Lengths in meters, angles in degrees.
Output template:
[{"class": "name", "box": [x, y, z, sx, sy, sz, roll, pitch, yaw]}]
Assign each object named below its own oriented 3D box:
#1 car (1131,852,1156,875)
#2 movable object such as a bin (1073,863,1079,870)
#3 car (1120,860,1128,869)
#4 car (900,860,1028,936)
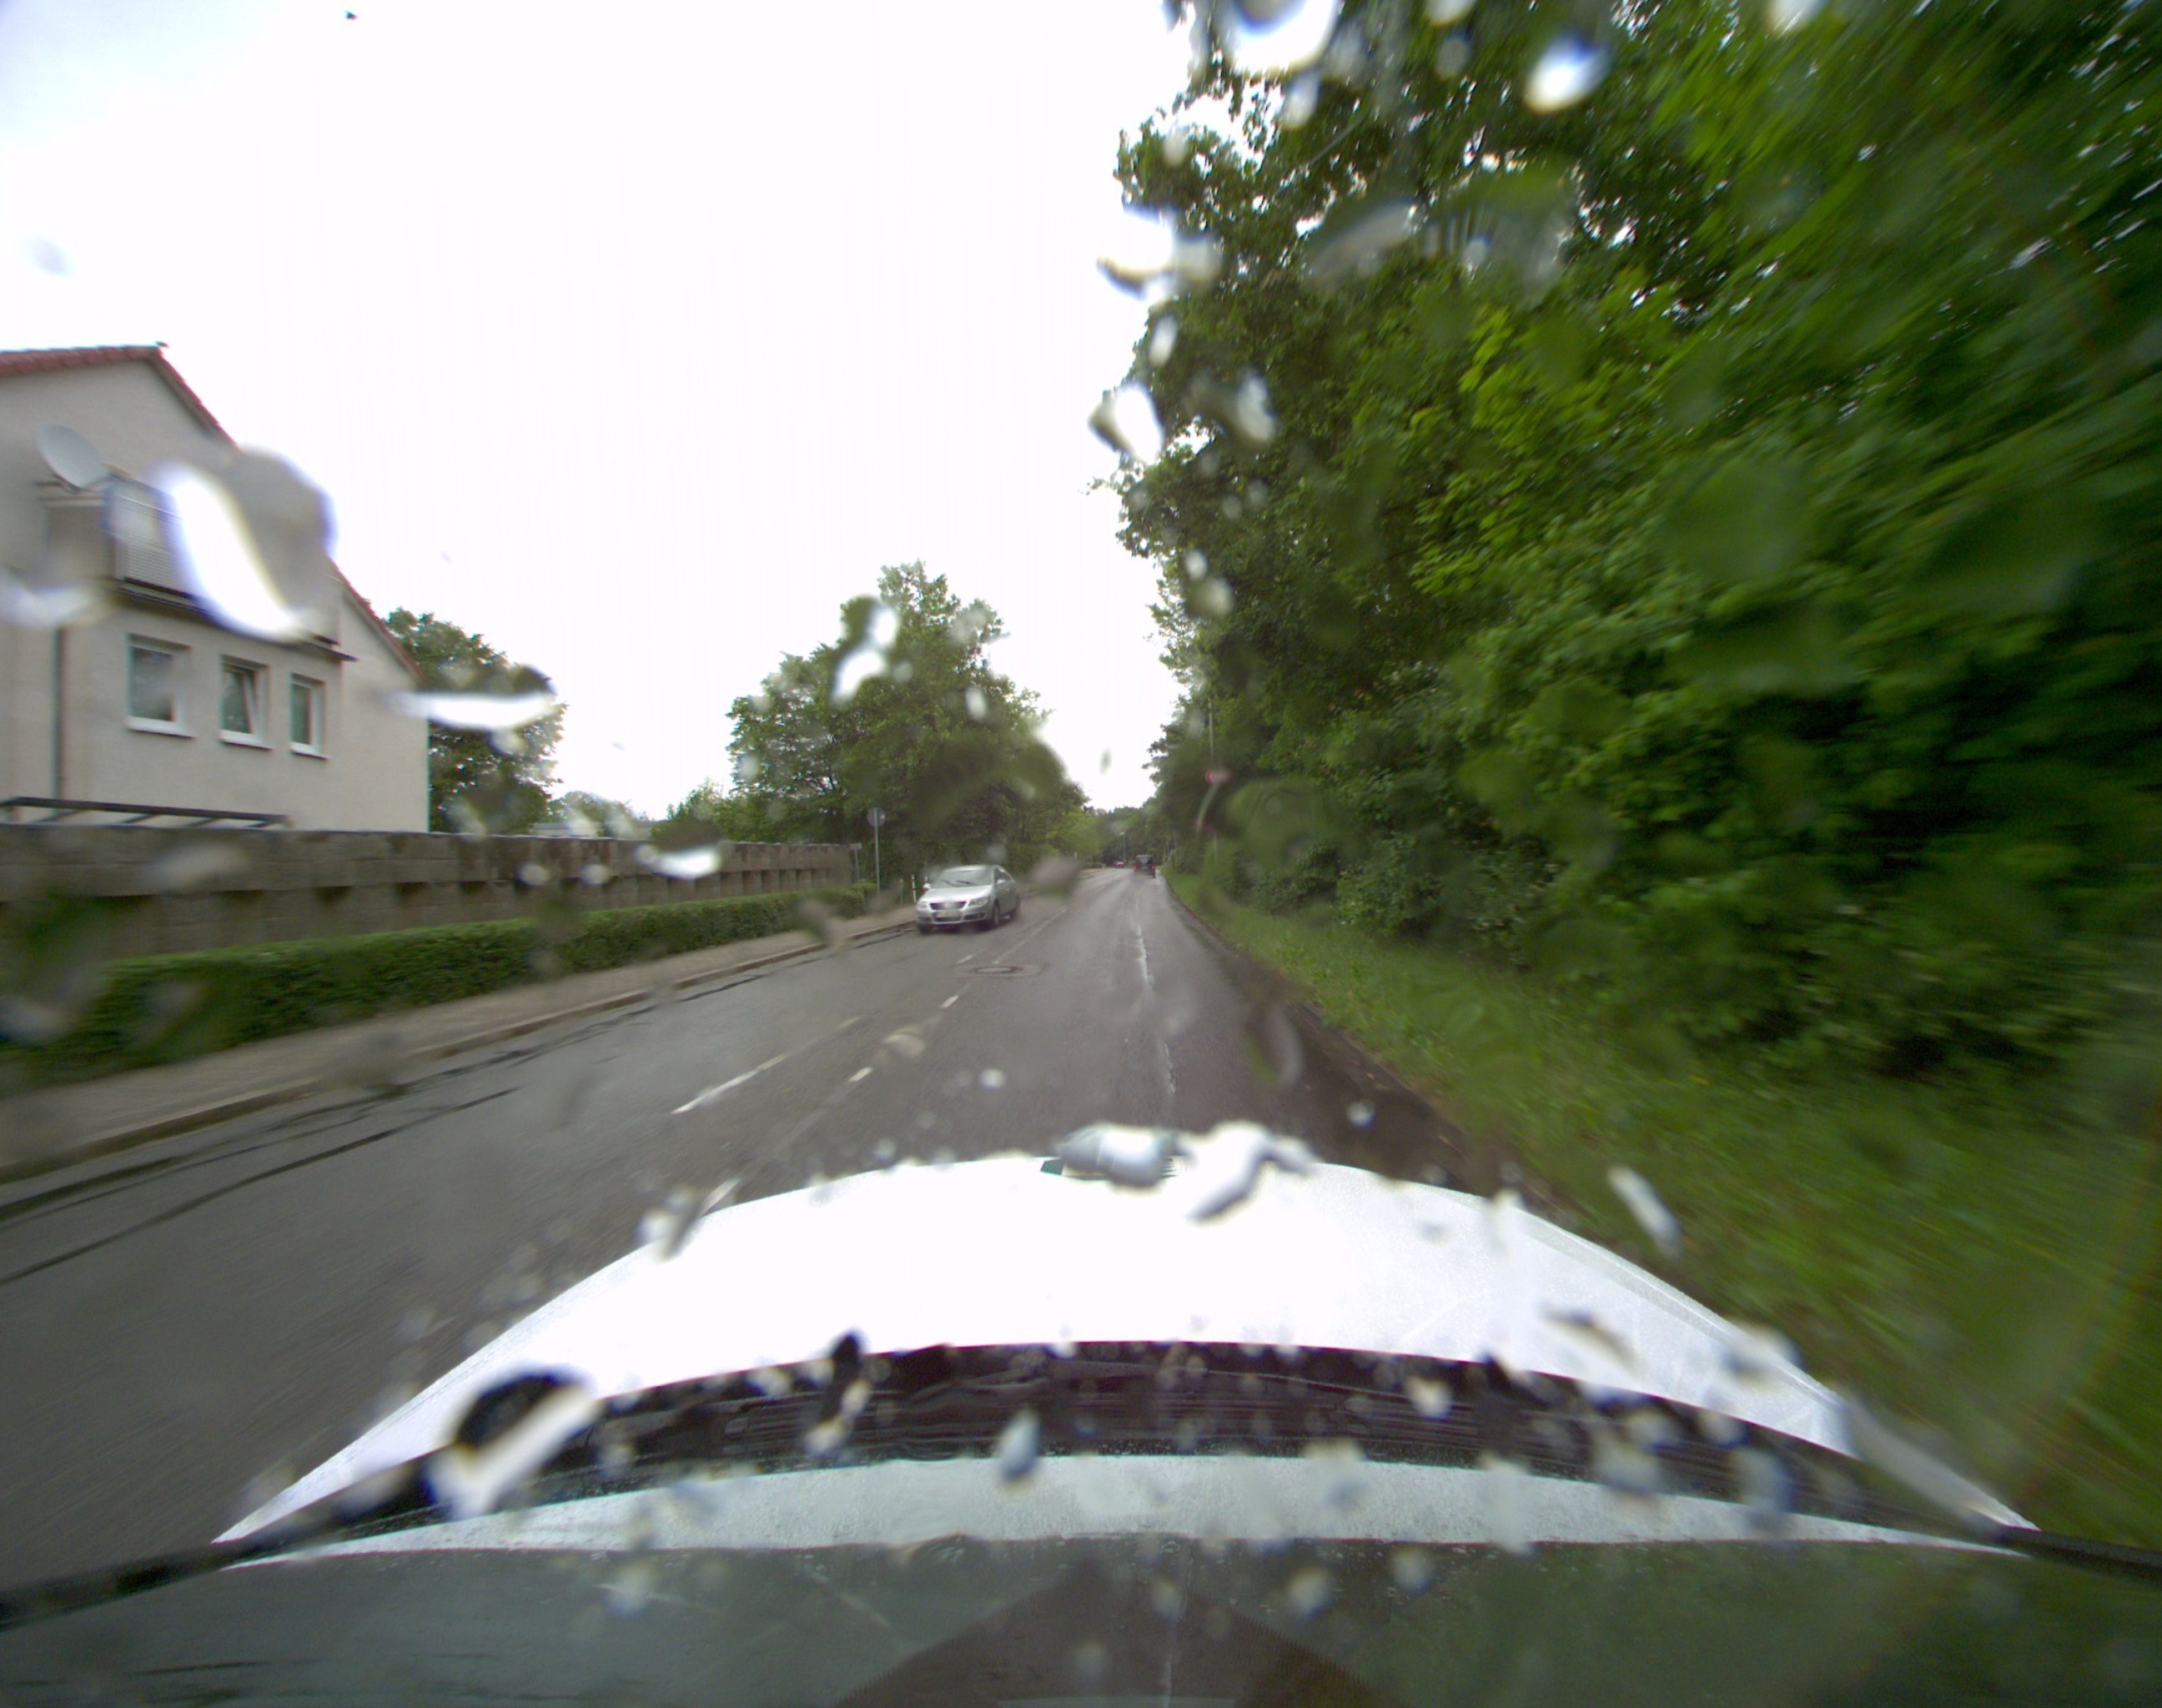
[{"class": "car", "box": [5.168, 0.724, 67.015, 1.984, 1.793, 4.006, 0, 1, 5]}, {"class": "movable object such as a bin", "box": [-0.761, 1.944, 128.347, 0.670, 1.026, 0.827, -4, -1, -27]}, {"class": "car", "box": [9.884, 2.444, 186.829, 1.985, 2.013, 4.003, 1, 0, 3]}, {"class": "car", "box": [-2.609, 0.938, 19.302, 1.984, 1.420, 4.491, -3, 0, 4]}]
